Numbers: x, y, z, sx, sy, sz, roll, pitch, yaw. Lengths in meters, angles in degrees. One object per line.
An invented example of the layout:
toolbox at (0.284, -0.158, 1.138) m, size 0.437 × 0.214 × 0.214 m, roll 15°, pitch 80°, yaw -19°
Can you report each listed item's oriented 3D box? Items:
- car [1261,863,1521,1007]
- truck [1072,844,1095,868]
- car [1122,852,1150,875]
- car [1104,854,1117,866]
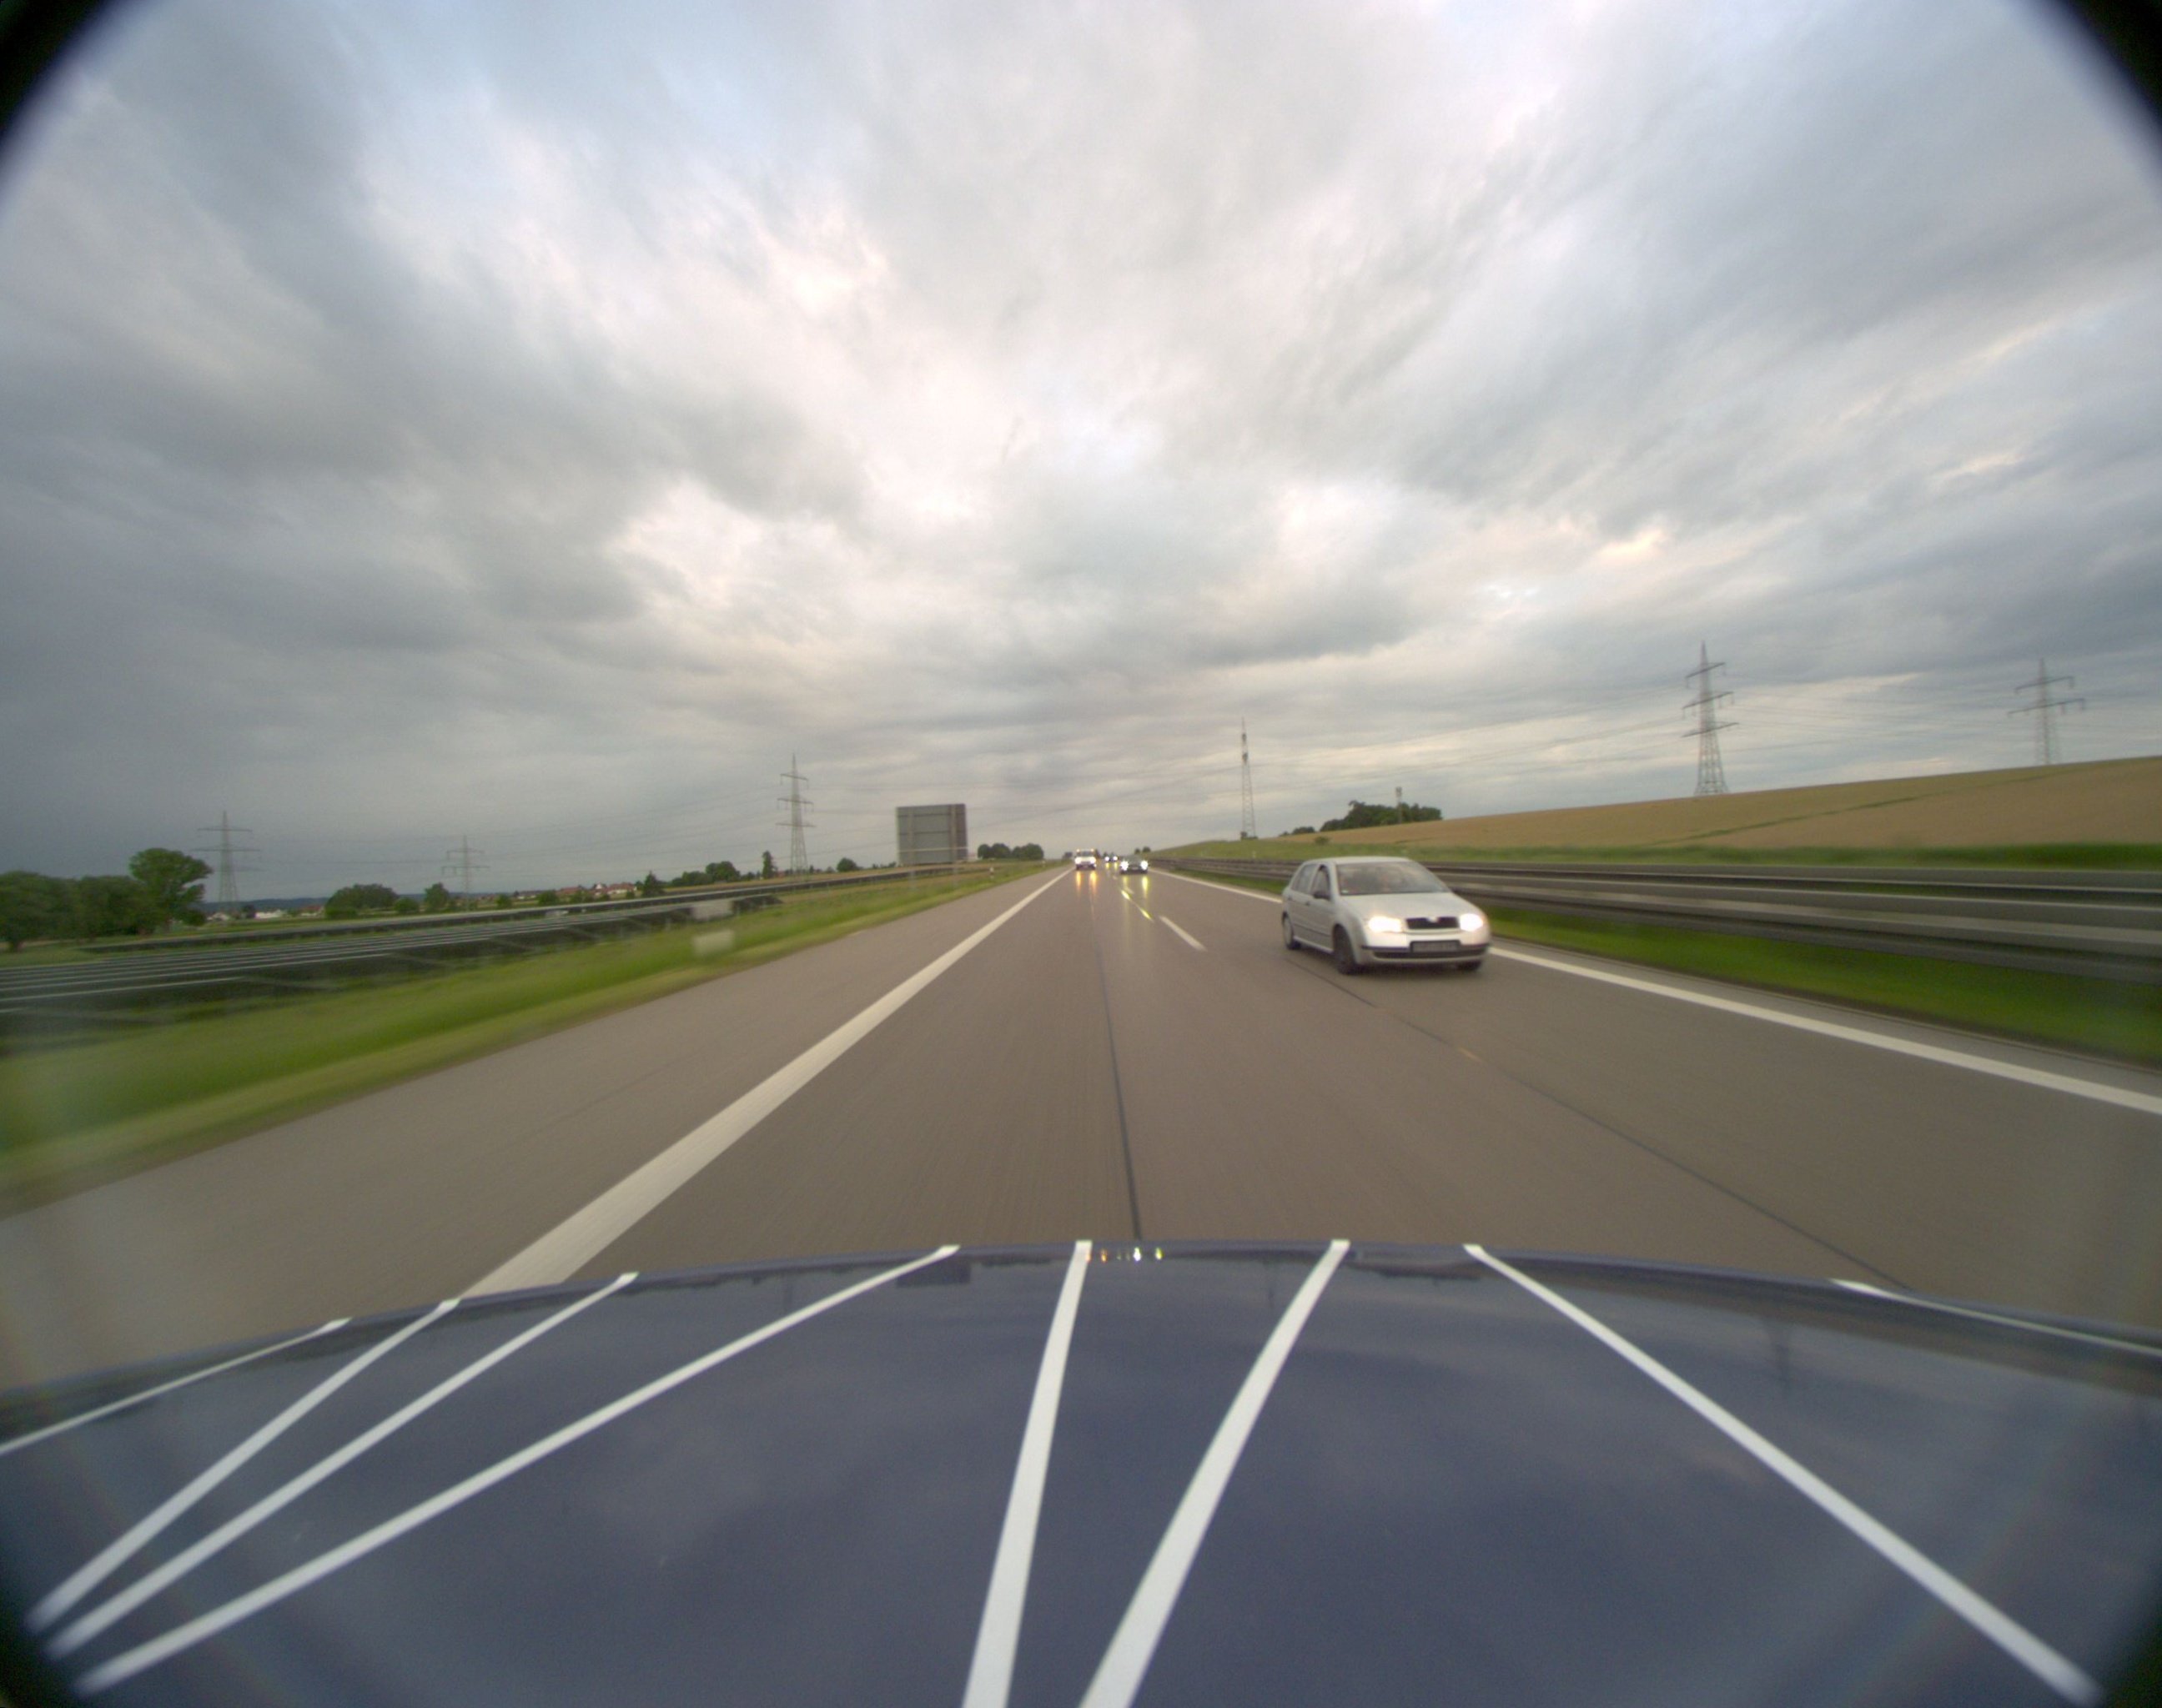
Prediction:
car at (3.796, 0.878, 10.264) m, size 1.592 × 1.381 × 4.601 m, roll -2°, pitch 0°, yaw 0°
truck at (0.304, 0.187, 83.069) m, size 2.177 × 2.346 × 7.696 m, roll -5°, pitch 0°, yaw 0°
car at (4.261, 0.693, 59.388) m, size 1.951 × 1.619 × 4.536 m, roll -3°, pitch 0°, yaw 1°
car at (5.481, 1.119, 141.340) m, size 1.999 × 2.002 × 4.461 m, roll -5°, pitch 0°, yaw 0°
